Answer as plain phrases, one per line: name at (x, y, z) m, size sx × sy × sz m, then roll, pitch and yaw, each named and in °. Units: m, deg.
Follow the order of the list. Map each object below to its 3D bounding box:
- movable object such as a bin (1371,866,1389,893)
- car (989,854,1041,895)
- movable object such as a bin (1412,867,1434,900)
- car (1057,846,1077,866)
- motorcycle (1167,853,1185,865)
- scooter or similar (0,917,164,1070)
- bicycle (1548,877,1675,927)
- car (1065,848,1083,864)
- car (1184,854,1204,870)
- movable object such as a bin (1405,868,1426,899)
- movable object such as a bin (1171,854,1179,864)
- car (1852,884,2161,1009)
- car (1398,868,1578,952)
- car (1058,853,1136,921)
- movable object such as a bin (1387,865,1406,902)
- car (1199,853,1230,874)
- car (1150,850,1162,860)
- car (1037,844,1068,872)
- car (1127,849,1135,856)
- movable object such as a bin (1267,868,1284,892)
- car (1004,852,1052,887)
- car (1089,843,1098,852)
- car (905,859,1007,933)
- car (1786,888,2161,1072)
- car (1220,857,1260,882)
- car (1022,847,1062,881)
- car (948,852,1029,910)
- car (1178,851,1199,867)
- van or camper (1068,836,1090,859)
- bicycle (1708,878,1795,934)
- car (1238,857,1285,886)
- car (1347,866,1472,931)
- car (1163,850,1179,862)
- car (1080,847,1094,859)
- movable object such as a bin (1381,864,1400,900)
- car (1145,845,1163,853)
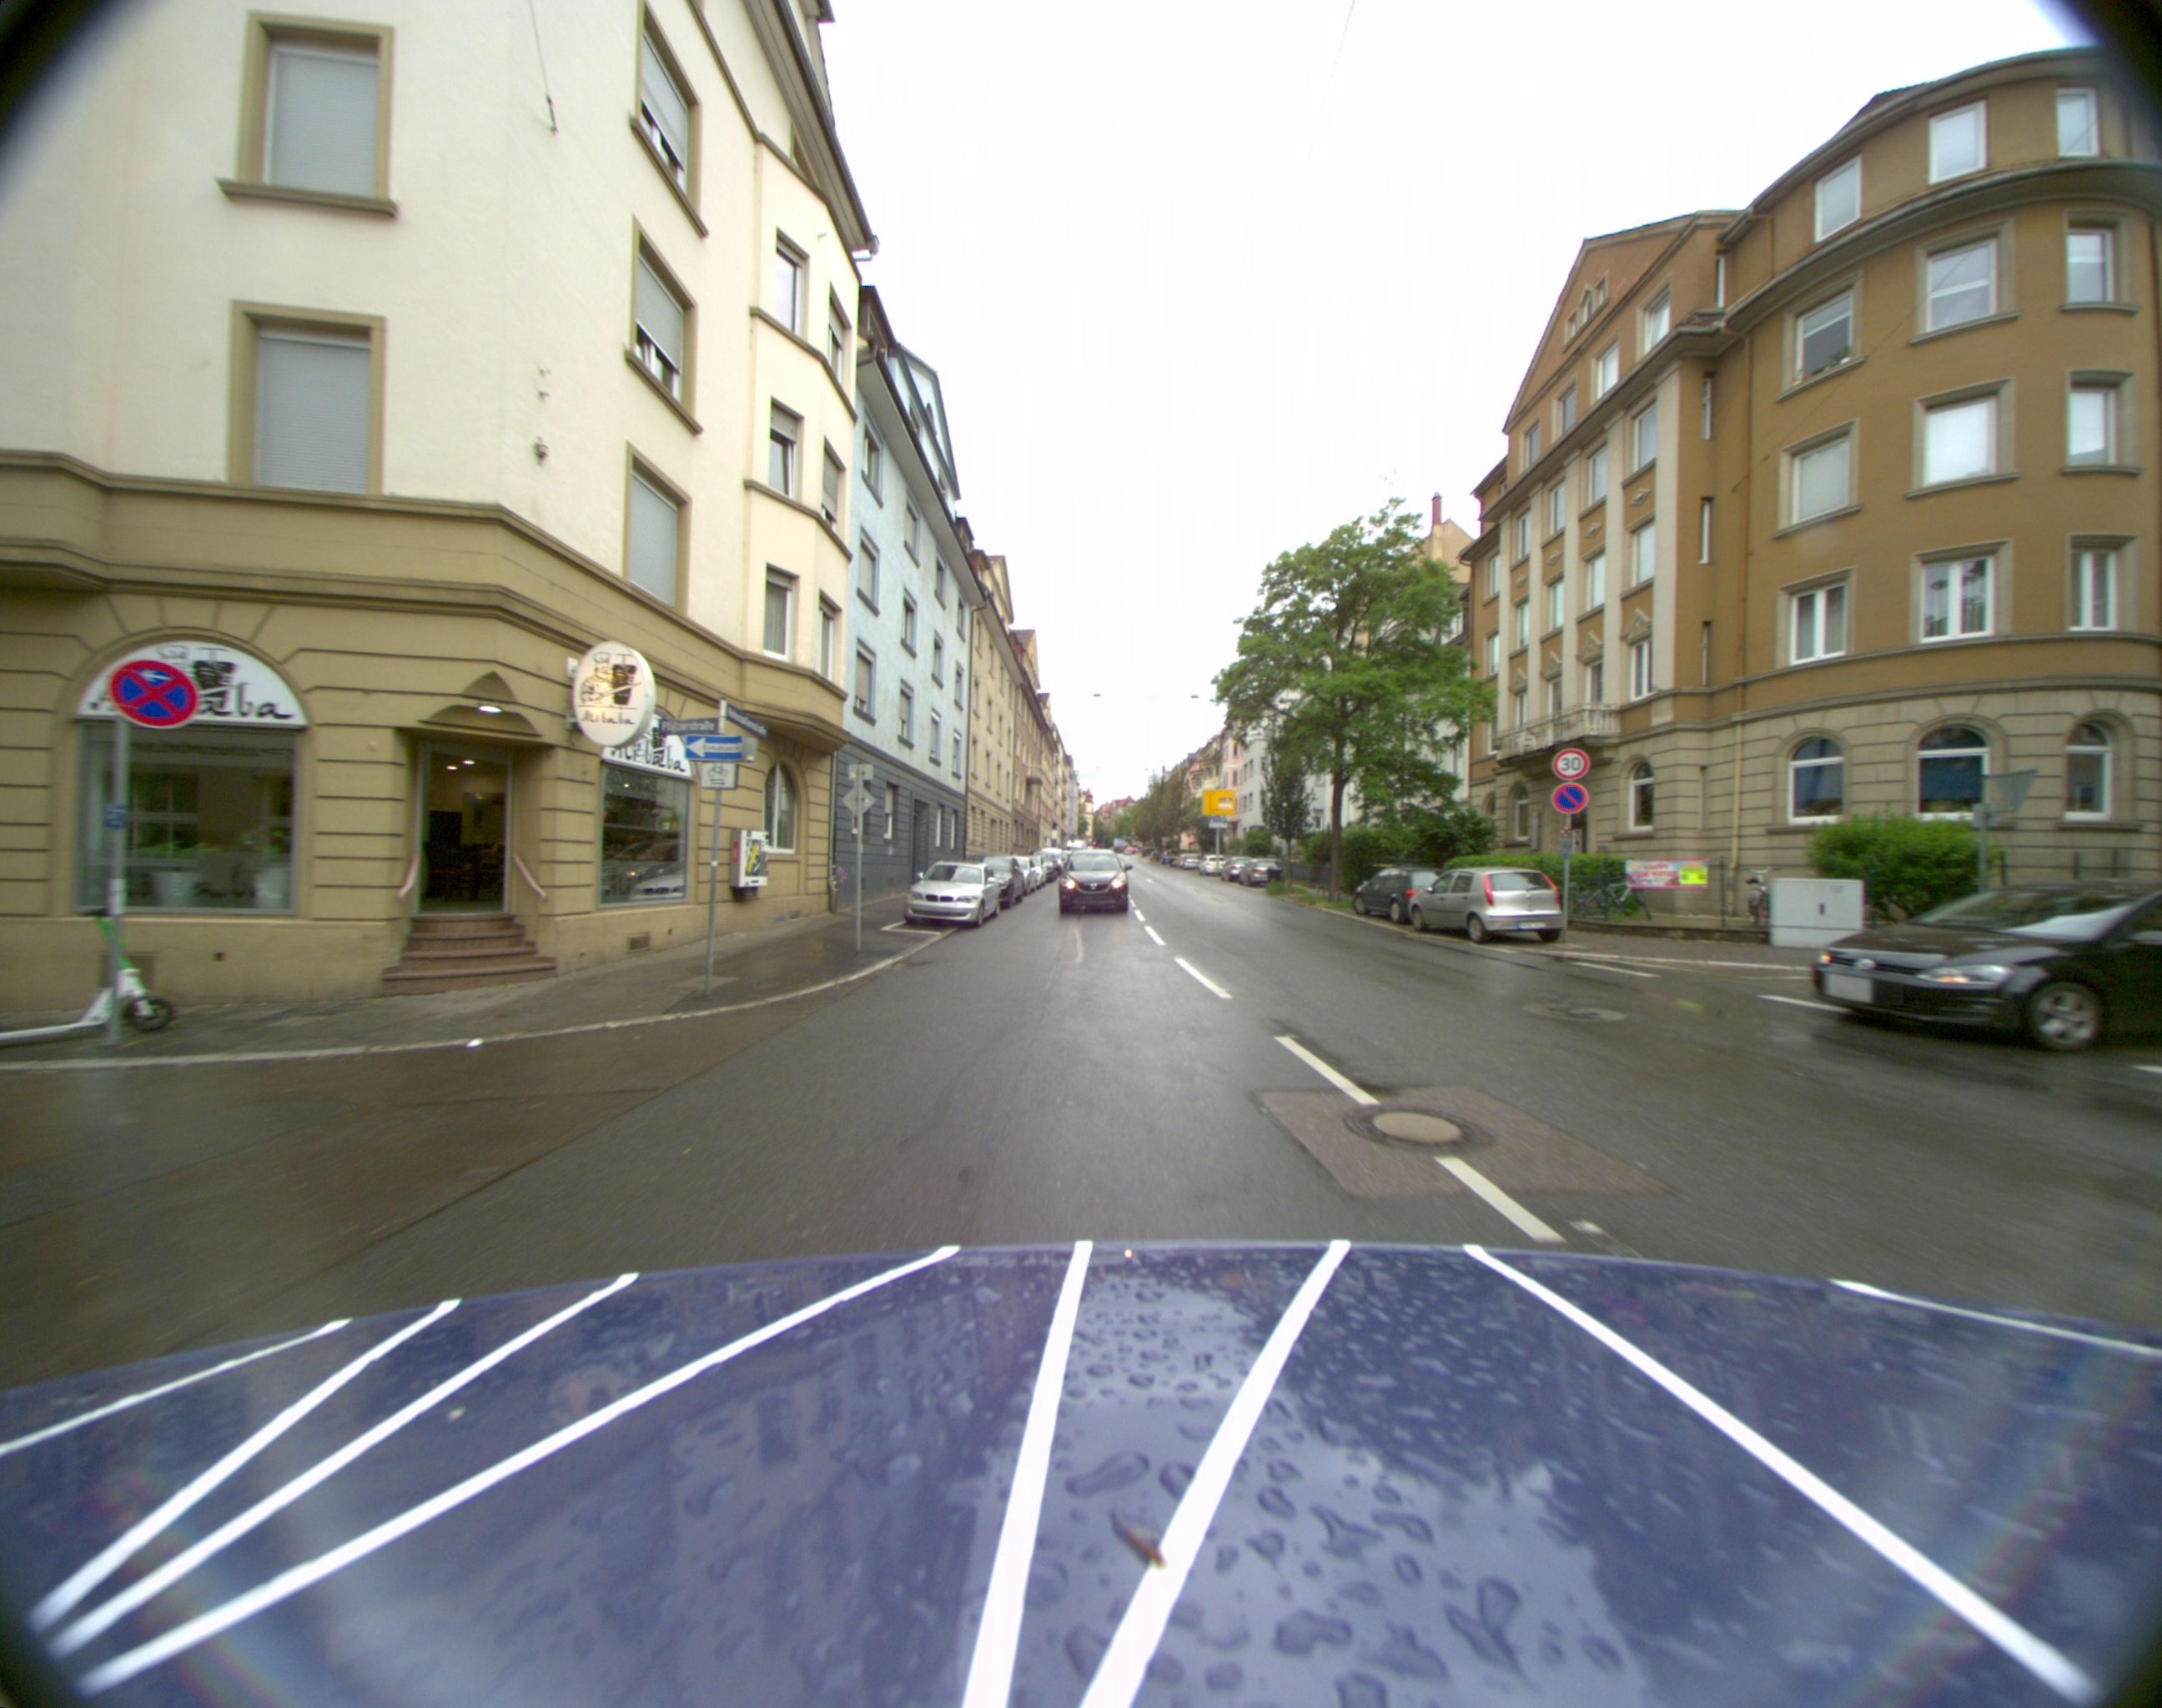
movable object such as a bin at (11.585, 0.974, 29.458) m, size 0.440 × 1.033 × 0.650 m, roll 1°, pitch 1°, yaw 1°
car at (-2.565, 0.777, 30.342) m, size 1.587 × 1.421 × 3.595 m, roll 3°, pitch 1°, yaw 2°
movable object such as a bin at (11.510, 0.996, 25.561) m, size 0.440 × 1.075 × 0.590 m, roll 1°, pitch 1°, yaw 1°
car at (-1.229, 0.175, 69.968) m, size 1.636 × 1.629 × 4.194 m, roll 4°, pitch 1°, yaw 0°
motorcycle at (10.139, 0.536, 81.367) m, size 1.805 × 1.307 × 0.743 m, roll 2°, pitch 1°, yaw 43°
scooter or similar at (-8.880, 1.184, 6.380) m, size 1.379 × 1.123 × 0.465 m, roll -4°, pitch 7°, yaw -40°
bicycle at (11.750, 1.050, 16.859) m, size 2.349 × 1.040 × 0.806 m, roll 1°, pitch 1°, yaw -7°
car at (-0.683, 0.188, 75.697) m, size 1.636 × 1.470 × 3.734 m, roll 4°, pitch 1°, yaw 0°
car at (10.608, 0.715, 71.587) m, size 1.604 × 1.443 × 3.889 m, roll -1°, pitch 1°, yaw 6°
movable object such as a bin at (11.566, 1.007, 26.300) m, size 0.427 × 1.035 × 0.650 m, roll 1°, pitch 1°, yaw 1°
movable object such as a bin at (10.362, 0.571, 84.158) m, size 0.826 × 1.052 × 0.483 m, roll -2°, pitch 2°, yaw 3°
car at (13.219, 1.187, 10.177) m, size 3.824 × 1.382 × 1.743 m, roll 1°, pitch 2°, yaw 4°
car at (8.347, 1.070, 16.011) m, size 1.636 × 1.445 × 3.838 m, roll 0°, pitch 1°, yaw -2°
car at (0.395, 0.801, 20.545) m, size 1.889 × 1.543 × 3.999 m, roll 0°, pitch 2°, yaw 0°
movable object such as a bin at (11.530, 1.076, 27.772) m, size 0.440 × 1.301 × 0.609 m, roll 1°, pitch 1°, yaw 1°
car at (9.772, 0.682, 55.862) m, size 1.650 × 1.499 × 3.796 m, roll 0°, pitch 1°, yaw 0°
car at (12.452, 0.176, 126.192) m, size 1.685 × 1.410 × 4.137 m, roll 2°, pitch 1°, yaw 2°
car at (-1.917, 0.248, 52.297) m, size 1.795 × 1.807 × 4.080 m, roll 2°, pitch 1°, yaw 2°
car at (12.230, -0.437, 186.108) m, size 1.771 × 1.540 × 3.652 m, roll 0°, pitch 2°, yaw 2°
movable object such as a bin at (8.882, 1.190, 34.763) m, size 0.631 × 1.052 × 0.600 m, roll 1°, pitch 2°, yaw 2°
car at (-2.409, 0.667, 35.350) m, size 1.733 × 1.421 × 3.973 m, roll 3°, pitch 1°, yaw 2°
car at (2.636, -1.345, 163.614) m, size 1.826 × 1.809 × 4.520 m, roll 2°, pitch 1°, yaw 2°
car at (-2.886, 0.918, 18.354) m, size 1.573 × 1.455 × 4.089 m, roll 3°, pitch 1°, yaw 2°
car at (9.379, 1.090, 7.148) m, size 3.825 × 1.382 × 1.742 m, roll 0°, pitch 2°, yaw 1°
car at (9.473, 0.877, 45.537) m, size 1.686 × 1.382 × 3.909 m, roll 0°, pitch 1°, yaw 2°
car at (-2.051, 0.491, 41.329) m, size 1.845 × 1.612 × 4.207 m, roll 2°, pitch 1°, yaw 1°
car at (-2.804, 0.761, 23.972) m, size 1.822 × 1.549 × 4.293 m, roll 3°, pitch 1°, yaw 2°
car at (10.751, 0.477, 76.403) m, size 1.604 × 1.389 × 3.886 m, roll 1°, pitch 2°, yaw 1°
van or camper at (-0.147, -0.851, 94.237) m, size 2.189 × 2.684 × 6.421 m, roll 2°, pitch 1°, yaw 4°
bicycle at (13.138, 0.995, 14.883) m, size 1.708 × 1.005 × 0.805 m, roll 1°, pitch 0°, yaw -32°
car at (9.383, 0.888, 39.735) m, size 1.686 × 1.382 × 3.936 m, roll 0°, pitch 1°, yaw 2°
car at (8.700, 1.118, 20.523) m, size 1.658 × 1.445 × 3.942 m, roll 1°, pitch 1°, yaw 0°
car at (11.535, 0.240, 97.322) m, size 1.683 × 1.378 × 4.602 m, roll 1°, pitch 2°, yaw 2°
car at (0.997, -0.209, 125.296) m, size 1.994 × 1.945 × 4.822 m, roll 2°, pitch 1°, yaw 2°
movable object such as a bin at (11.580, 1.044, 28.433) m, size 0.440 × 1.301 × 0.650 m, roll 1°, pitch 1°, yaw 1°
car at (16.948, -1.174, 175.824) m, size 3.929 × 1.836 × 1.867 m, roll 2°, pitch 2°, yaw 0°
